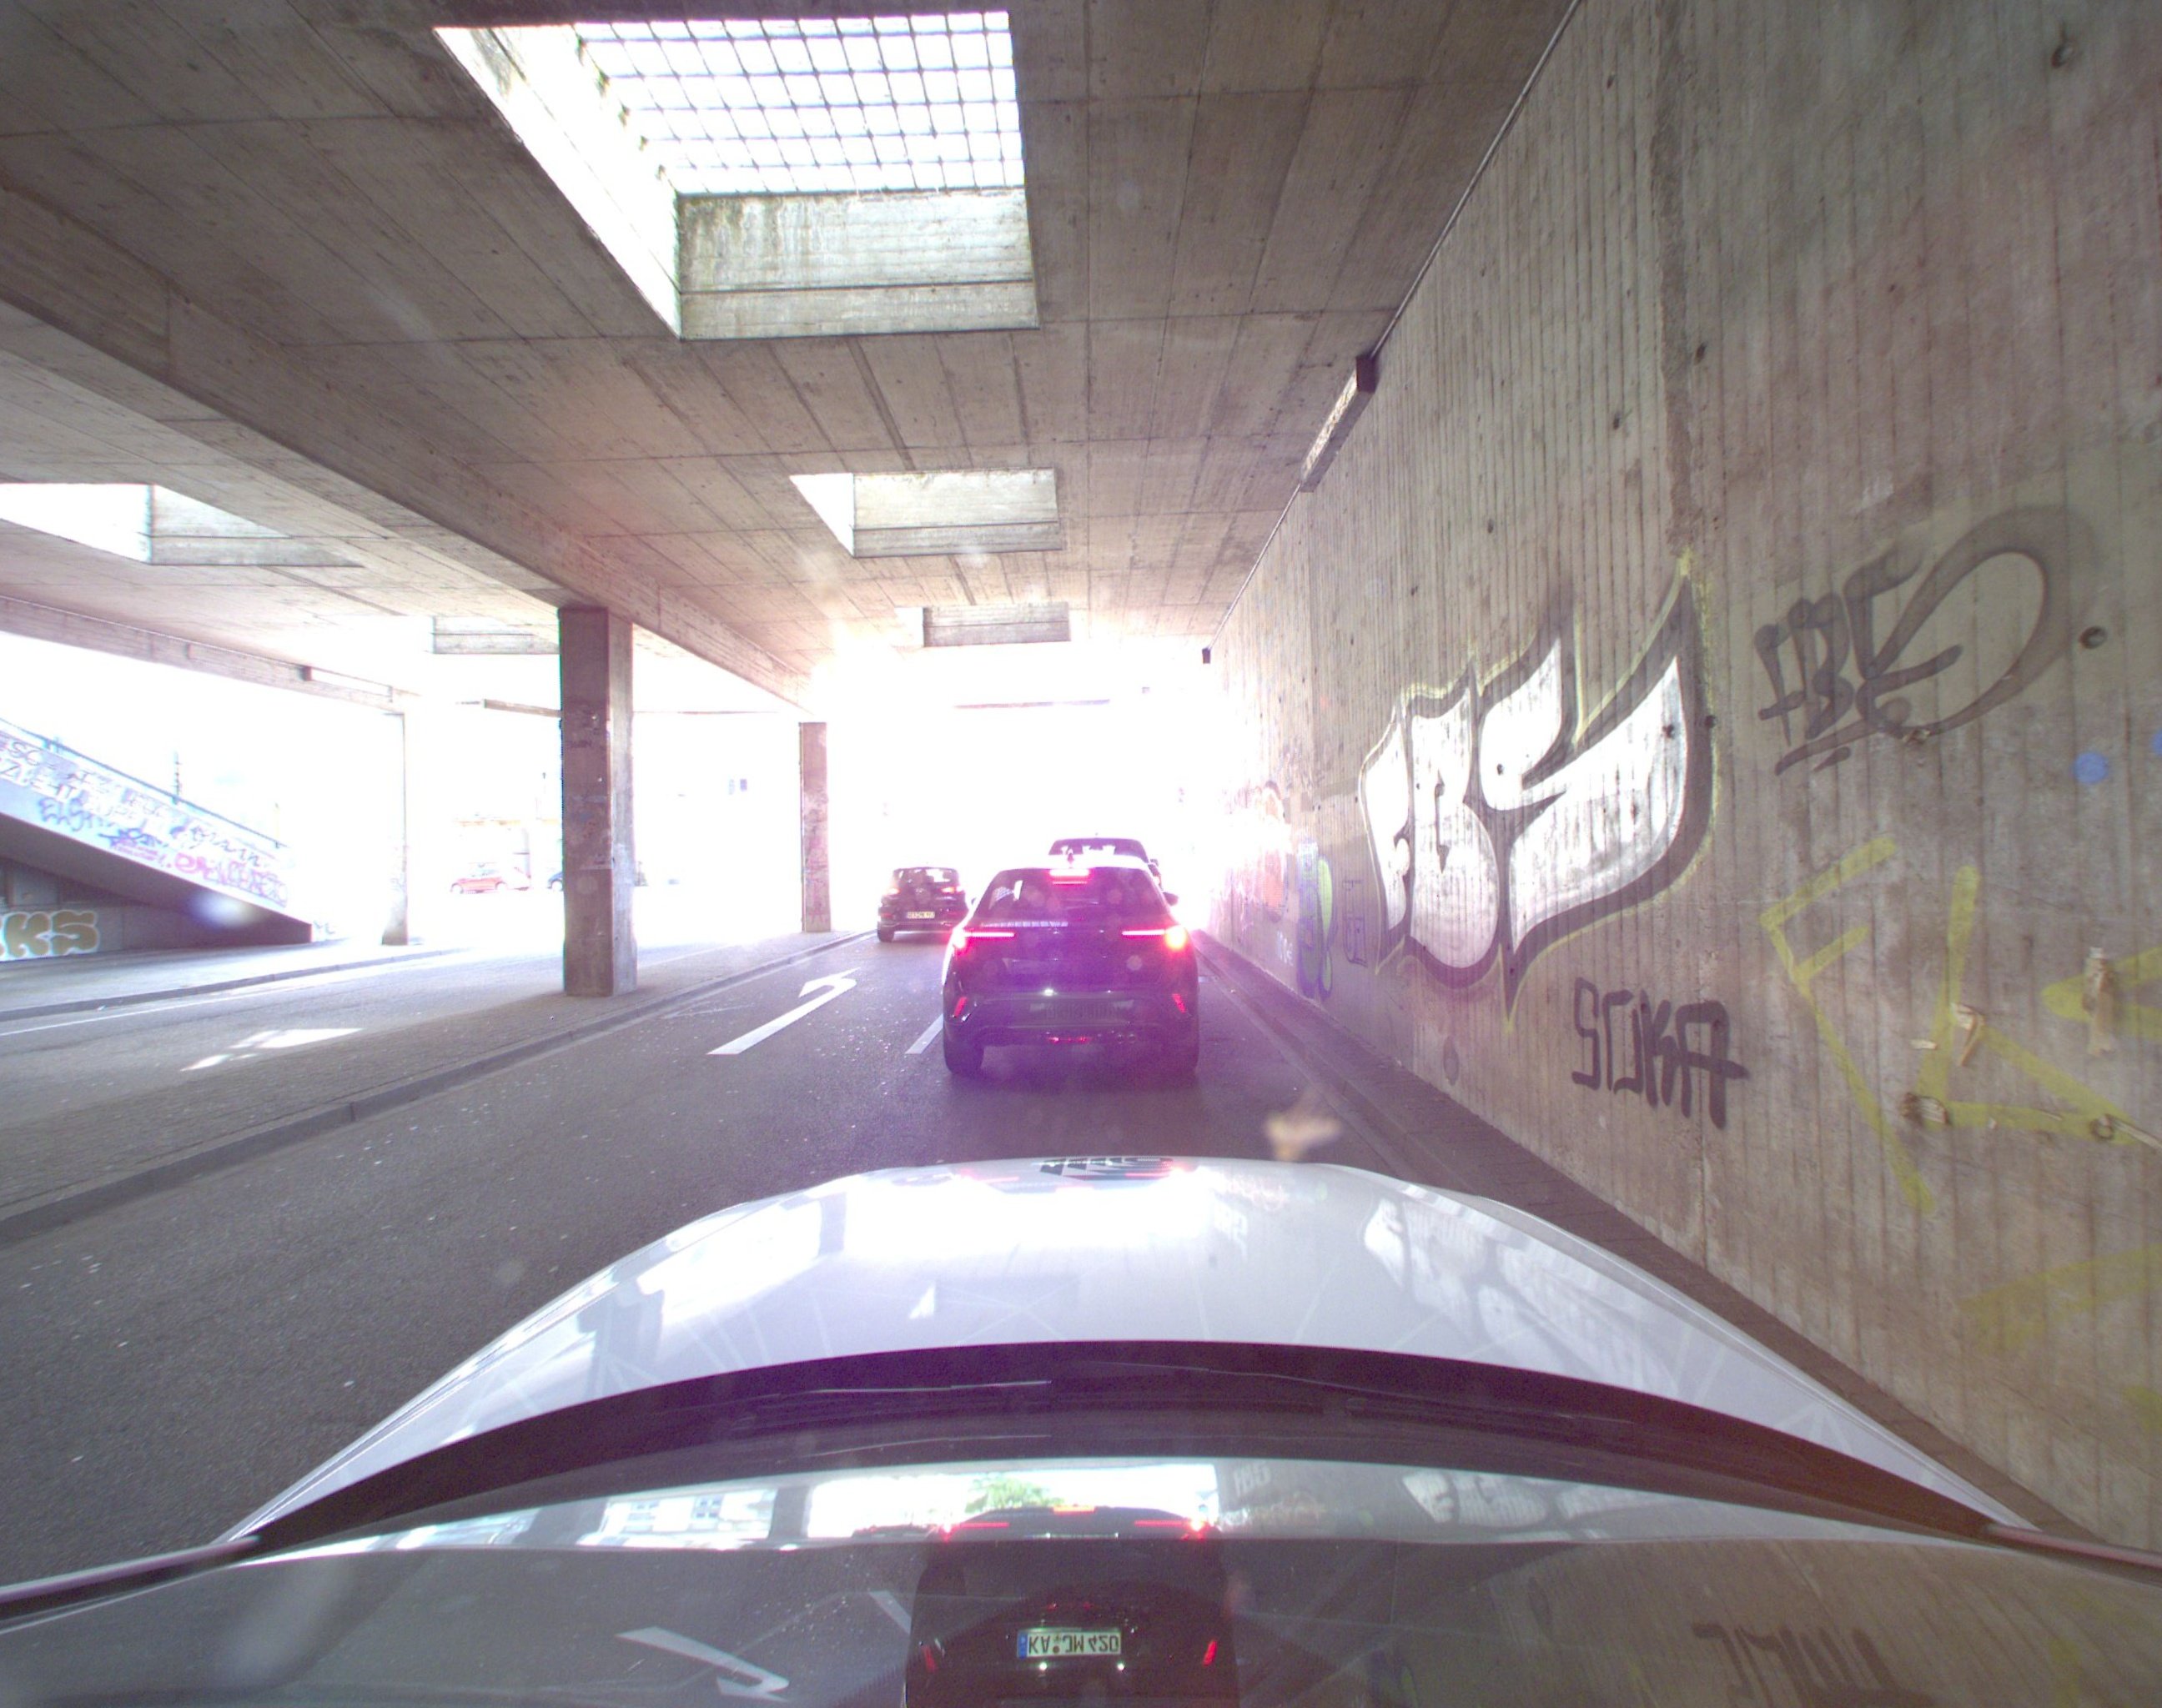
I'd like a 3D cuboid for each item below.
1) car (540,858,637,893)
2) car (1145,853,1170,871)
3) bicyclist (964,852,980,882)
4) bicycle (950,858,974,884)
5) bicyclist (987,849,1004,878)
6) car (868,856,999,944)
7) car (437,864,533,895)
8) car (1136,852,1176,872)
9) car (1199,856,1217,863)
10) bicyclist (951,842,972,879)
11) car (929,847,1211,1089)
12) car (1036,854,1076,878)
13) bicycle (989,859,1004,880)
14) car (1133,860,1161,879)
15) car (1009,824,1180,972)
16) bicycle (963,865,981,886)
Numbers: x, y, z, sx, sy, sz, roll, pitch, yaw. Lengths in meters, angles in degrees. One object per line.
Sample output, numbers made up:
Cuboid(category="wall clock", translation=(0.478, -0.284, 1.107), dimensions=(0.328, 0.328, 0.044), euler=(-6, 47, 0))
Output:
Cuboid(category="car", translation=(-27.243, 1.186, 45.163), dimensions=(4.144, 1.724, 1.964), euler=(-1, 1, 2))
Cuboid(category="car", translation=(7.030, 0.751, 74.700), dimensions=(1.693, 1.512, 3.877), euler=(-3, -1, 13))
Cuboid(category="bicyclist", translation=(-5.893, 0.701, 44.070), dimensions=(0.602, 1.632, 0.911), euler=(-1, 0, 7))
Cuboid(category="bicycle", translation=(-5.589, 0.778, 38.383), dimensions=(0.695, 1.090, 1.863), euler=(-1, 2, 5))
Cuboid(category="bicyclist", translation=(-4.975, 0.554, 47.399), dimensions=(0.778, 1.660, 1.032), euler=(-1, 0, 3))
Cuboid(category="car", translation=(-2.750, 0.802, 16.190), dimensions=(1.795, 1.451, 4.325), euler=(-1, 0, 0))
Cuboid(category="car", translation=(-33.031, 1.400, 45.224), dimensions=(3.863, 1.540, 1.900), euler=(-1, 1, 2))
Cuboid(category="car", translation=(10.629, 1.144, 116.108), dimensions=(5.267, 2.545, 1.976), euler=(-2, -1, -14))
Cuboid(category="car", translation=(30.145, 1.261, 193.348), dimensions=(3.930, 1.397, 1.517), euler=(-4, -1, 3))
Cuboid(category="bicyclist", translation=(-5.624, 0.300, 38.373), dimensions=(0.742, 1.711, 0.968), euler=(-1, 1, 4))
Cuboid(category="car", translation=(-0.013, 0.726, 7.045), dimensions=(1.775, 1.517, 3.757), euler=(-1, 0, 2))
Cuboid(category="car", translation=(-1.649, 0.786, 54.315), dimensions=(1.645, 1.441, 3.478), euler=(-2, 0, 16))
Cuboid(category="bicycle", translation=(-4.935, 0.892, 47.499), dimensions=(0.539, 1.123, 2.060), euler=(-1, 0, 3))
Cuboid(category="car", translation=(5.509, 1.230, 67.445), dimensions=(1.695, 1.452, 3.865), euler=(-1, 0, 14))
Cuboid(category="car", translation=(0.239, 0.560, 12.812), dimensions=(2.125, 1.835, 4.942), euler=(-1, 0, 1))
Cuboid(category="bicycle", translation=(-5.877, 1.150, 44.042), dimensions=(0.523, 1.090, 1.864), euler=(-1, 0, 7))
